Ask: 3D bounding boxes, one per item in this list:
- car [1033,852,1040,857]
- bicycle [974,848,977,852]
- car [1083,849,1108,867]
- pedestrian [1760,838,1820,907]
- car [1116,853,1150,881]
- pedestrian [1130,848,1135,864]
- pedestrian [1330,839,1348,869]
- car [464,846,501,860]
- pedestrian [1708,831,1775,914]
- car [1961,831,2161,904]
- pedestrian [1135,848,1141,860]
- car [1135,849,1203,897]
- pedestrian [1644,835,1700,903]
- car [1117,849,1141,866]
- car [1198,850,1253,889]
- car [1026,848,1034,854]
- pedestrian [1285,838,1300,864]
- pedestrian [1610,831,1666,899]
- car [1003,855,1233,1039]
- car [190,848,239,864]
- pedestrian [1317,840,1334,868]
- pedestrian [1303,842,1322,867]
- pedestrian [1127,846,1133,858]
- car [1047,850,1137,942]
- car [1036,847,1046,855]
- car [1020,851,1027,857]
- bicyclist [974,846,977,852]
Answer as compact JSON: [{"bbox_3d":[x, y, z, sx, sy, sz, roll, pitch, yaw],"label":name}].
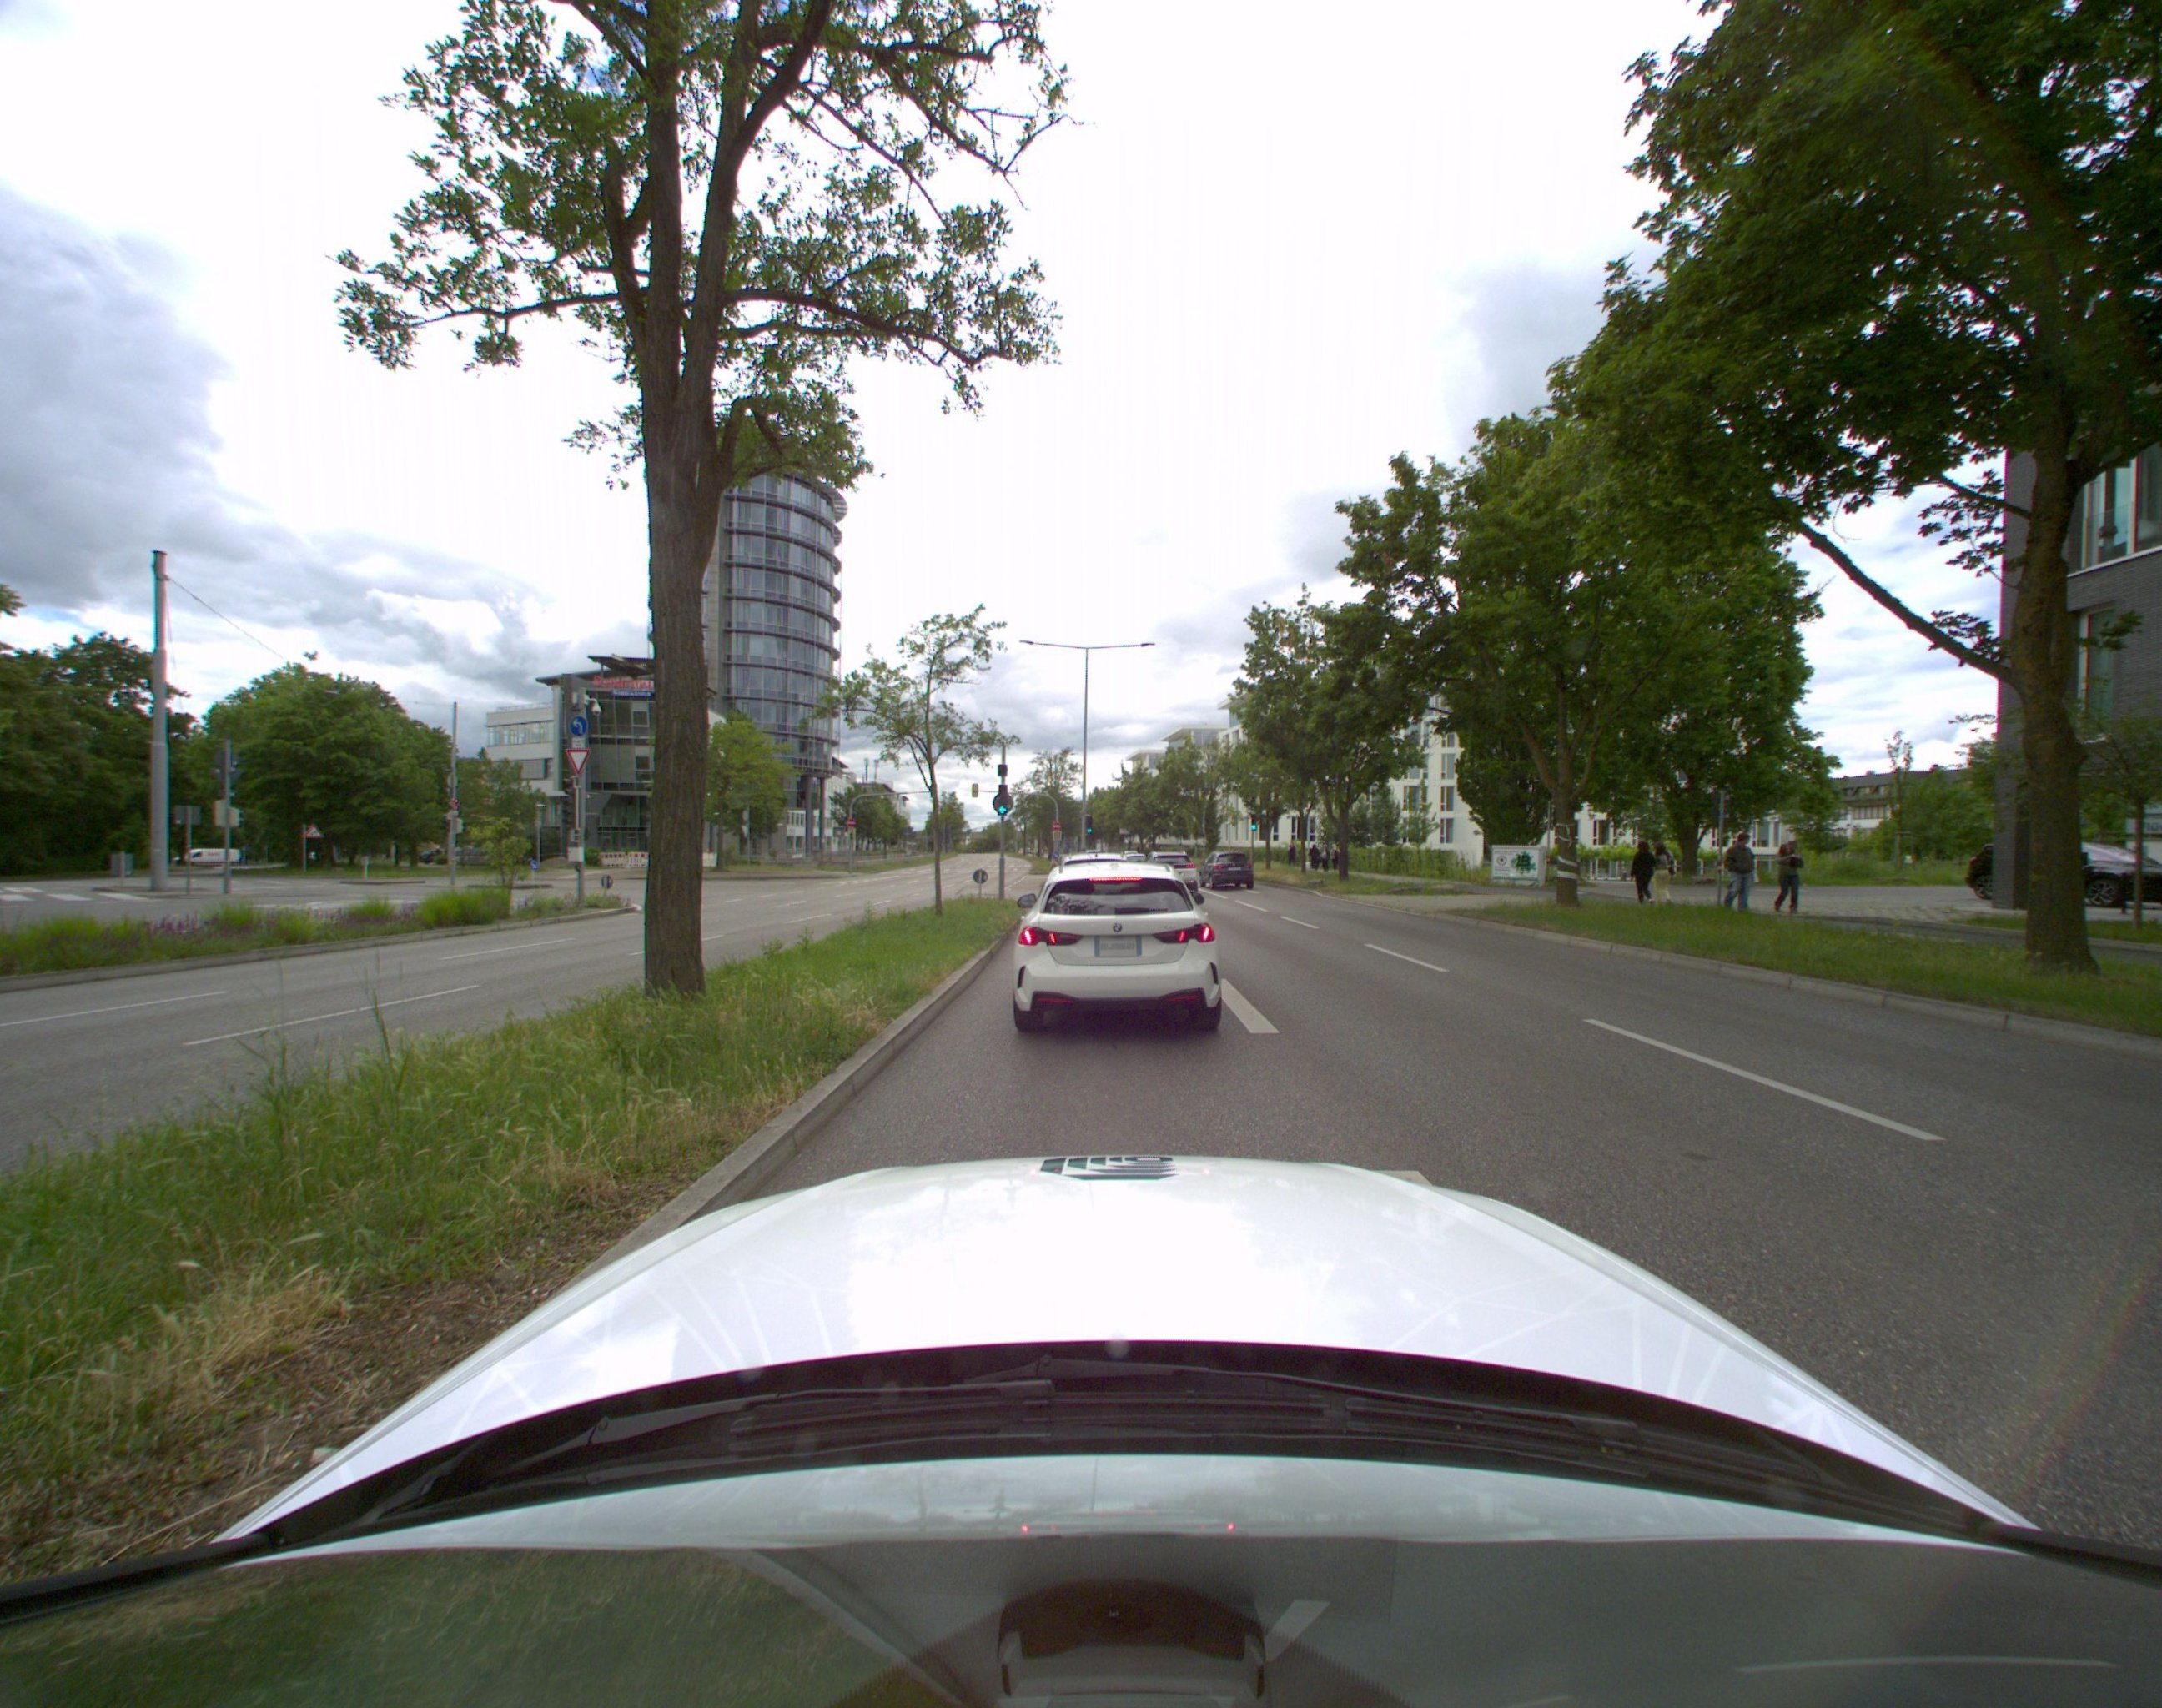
[{"bbox_3d":[-11.837,0.091,214.973,1.691,1.486,3.685,0,0,-7],"label":"car"},{"bbox_3d":[-28.239,-0.984,217.951,0.811,1.104,2.546,0,-1,-12],"label":"bicycle"},{"bbox_3d":[1.303,0.377,75.074,1.888,1.596,4.306,0,0,-5],"label":"car"},{"bbox_3d":[16.445,0.420,18.919,0.825,1.557,0.880,0,0,23],"label":"pedestrian"},{"bbox_3d":[2.812,0.689,44.855,1.601,1.468,3.673,0,0,-1],"label":"car"},{"bbox_3d":[8.470,0.277,133.422,0.828,2.627,0.646,0,0,1],"label":"pedestrian"},{"bbox_3d":[15.131,0.001,47.770,0.764,1.685,0.883,0,-1,1],"label":"pedestrian"},{"bbox_3d":[-37.357,-0.058,50.866,0.766,0.876,1.730,0,0,38],"label":"car"},{"bbox_3d":[15.258,0.411,18.843,0.951,1.868,0.984,0,0,21],"label":"pedestrian"},{"bbox_3d":[24.901,0.299,20.216,1.749,1.646,4.151,0,0,2],"label":"car"},{"bbox_3d":[9.583,-0.078,137.540,0.848,2.013,0.604,0,0,-8],"label":"pedestrian"},{"bbox_3d":[3.112,0.629,29.699,1.850,1.596,4.310,-1,0,-2],"label":"car"},{"bbox_3d":[14.781,0.376,20.393,0.774,1.660,0.954,0,0,7],"label":"pedestrian"},{"bbox_3d":[4.318,0.295,74.088,1.651,1.425,3.528,-1,0,-5],"label":"car"},{"bbox_3d":[5.914,0.600,33.763,1.651,1.512,4.001,0,0,1],"label":"car"},{"bbox_3d":[-15.018,-0.832,238.810,1.992,1.732,3.990,0,-1,-7],"label":"car"},{"bbox_3d":[12.905,-0.155,49.630,0.739,1.574,0.674,0,-1,0],"label":"pedestrian"},{"bbox_3d":[14.020,0.266,20.531,0.791,1.660,1.061,0,0,7],"label":"pedestrian"},{"bbox_3d":[0.359,0.741,8.439,1.815,1.438,4.002,0,0,2],"label":"car"},{"bbox_3d":[-128.875,0.262,121.165,1.978,2.339,4.570,-1,-1,16],"label":"car"},{"bbox_3d":[14.340,0.007,47.753,0.697,1.595,0.883,0,-1,1],"label":"pedestrian"},{"bbox_3d":[13.621,0.014,47.912,0.786,1.448,1.112,0,-1,1],"label":"pedestrian"},{"bbox_3d":[8.368,-0.385,139.318,0.763,2.014,0.751,0,-1,-13],"label":"pedestrian"},{"bbox_3d":[0.252,0.714,15.967,1.544,1.569,4.002,0,0,2],"label":"car"},{"bbox_3d":[-9.238,-0.752,189.717,1.992,1.670,3.990,-2,0,-7],"label":"car"},{"bbox_3d":[-15.199,-0.033,215.233,1.692,1.717,3.993,0,-1,-4],"label":"car"},{"bbox_3d":[-28.247,-1.353,218.000,0.811,1.653,1.184,0,-1,-12],"label":"bicyclist"}]
